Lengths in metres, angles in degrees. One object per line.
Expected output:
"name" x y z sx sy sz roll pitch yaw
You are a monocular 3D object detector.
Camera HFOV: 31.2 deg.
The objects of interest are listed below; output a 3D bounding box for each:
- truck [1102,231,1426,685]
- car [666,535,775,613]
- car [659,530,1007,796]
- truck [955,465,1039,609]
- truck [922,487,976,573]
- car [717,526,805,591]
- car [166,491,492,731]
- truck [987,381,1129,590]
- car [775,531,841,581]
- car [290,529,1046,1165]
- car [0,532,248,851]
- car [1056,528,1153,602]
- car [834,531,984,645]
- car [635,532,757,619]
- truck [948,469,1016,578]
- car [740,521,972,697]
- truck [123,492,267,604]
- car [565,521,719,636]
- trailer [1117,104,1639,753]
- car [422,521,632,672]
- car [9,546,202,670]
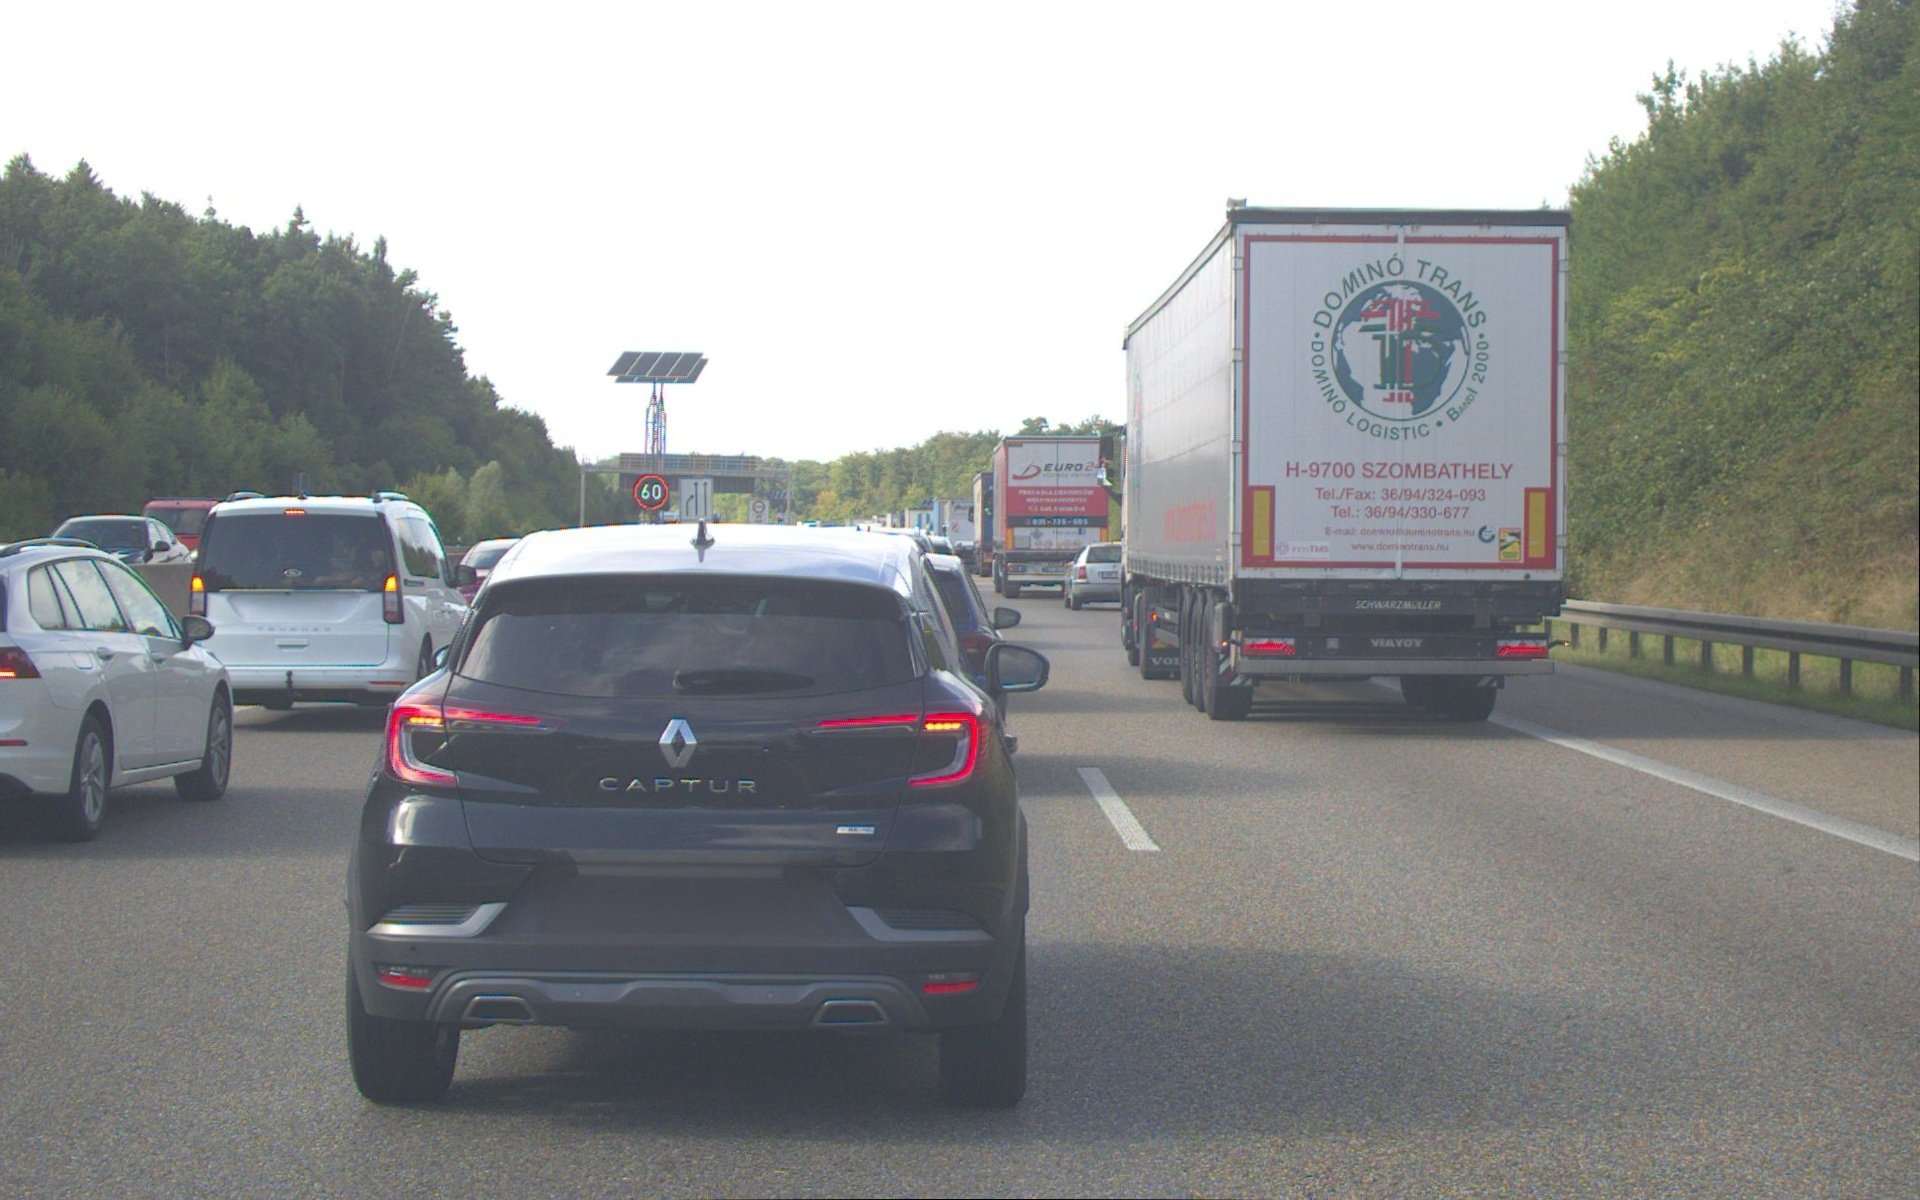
"truck" 3.247 -1.516 38.339 2.997 4.651 5.940 0 1 0
"car" -5.086 -0.560 73.453 1.993 1.607 4.000 1 1 0
"car" -0.723 0.345 21.848 1.993 1.509 4.000 1 1 0
"truck" 1.482 -2.484 138.545 3.166 5.486 12.737 1 1 1
"truck" -0.632 -4.265 213.663 3.166 5.142 12.737 1 1 1
"car" -5.066 -1.075 88.123 1.993 1.607 4.000 1 1 0
"car" -5.059 0.062 28.126 1.911 1.783 4.418 1 1 -1
"truck" 2.429 -2.840 89.560 3.365 5.027 12.737 1 1 1
"car" -5.006 -1.472 113.777 1.993 1.607 4.000 1 1 0
"car" -0.670 0.571 10.427 1.805 1.547 4.000 0 1 2
"car" -5.078 0.386 17.835 1.804 1.456 4.308 0 1 1
"car" 3.067 -0.756 73.634 1.804 1.527 3.926 1 1 -1
"car" -0.678 -0.181 48.364 1.993 1.509 4.000 1 1 0
"car" -5.028 -0.478 65.918 1.993 1.607 4.000 1 1 0
"truck" 1.228 -3.956 180.628 3.167 5.486 12.737 1 1 2
"car" -0.897 0.058 31.904 1.993 1.509 4.000 1 1 0
"truck" -20.293 -1.390 91.488 2.422 2.845 6.431 1 1 0
"car" -4.917 -0.344 53.687 1.993 1.716 4.000 1 1 0
"trailer" 3.313 -1.367 31.431 3.002 4.645 13.291 1 1 0
"car" -4.934 -0.060 39.617 1.855 1.635 3.925 1 1 1
"car" -13.183 0.085 53.295 1.852 1.803 4.625 1 1 0
